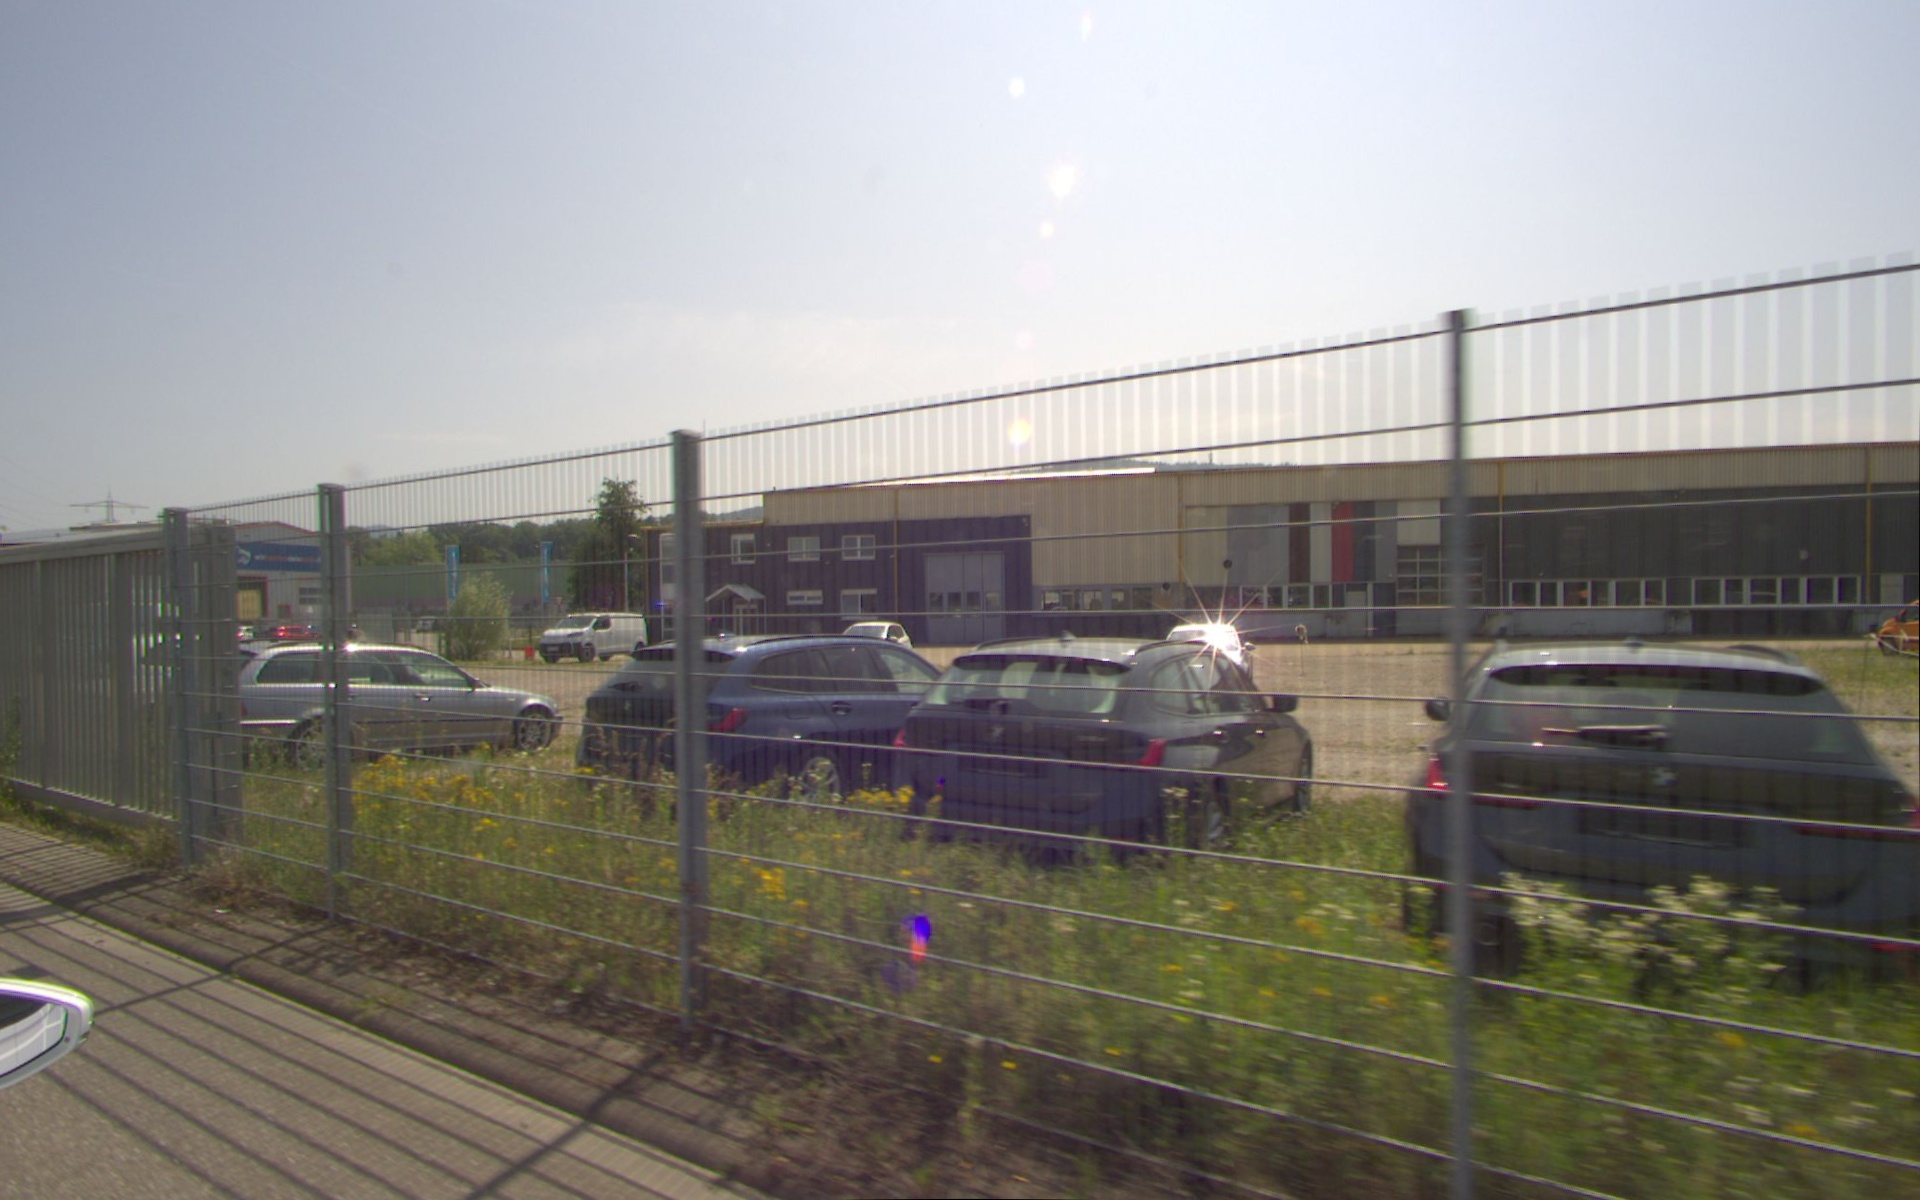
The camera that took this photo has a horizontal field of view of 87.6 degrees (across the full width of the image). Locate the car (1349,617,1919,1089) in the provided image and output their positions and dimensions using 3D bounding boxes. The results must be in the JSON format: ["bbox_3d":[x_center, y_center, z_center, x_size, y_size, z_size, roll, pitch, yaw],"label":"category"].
[{"bbox_3d":[3.379,0.866,5.359,1.811,1.423,4.506,-1,-3,29],"label":"car"}]

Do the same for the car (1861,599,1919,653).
[{"bbox_3d":[27.532,0.726,27.887,1.720,1.505,4.385,0,0,14],"label":"car"}]

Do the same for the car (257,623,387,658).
[{"bbox_3d":[-25.075,1.564,39.487,3.854,1.294,1.906,0,0,-9],"label":"car"}]

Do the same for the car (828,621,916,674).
[{"bbox_3d":[-2.567,1.374,29.878,1.507,1.454,3.664,-1,-1,14],"label":"car"}]

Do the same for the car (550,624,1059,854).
[{"bbox_3d":[-0.976,0.999,8.596,1.743,1.423,4.501,-1,-4,34],"label":"car"}]

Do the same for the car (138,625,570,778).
[{"bbox_3d":[-6.930,1.113,11.976,1.613,1.492,4.163,-1,-3,28],"label":"car"}]

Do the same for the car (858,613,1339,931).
[{"bbox_3d":[1.314,0.904,6.855,1.614,1.423,4.505,-1,-3,31],"label":"car"}]

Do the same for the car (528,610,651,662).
[{"bbox_3d":[-14.460,1.362,39.471,1.824,1.924,5.069,-1,-1,17],"label":"car"}]

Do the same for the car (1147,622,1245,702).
[{"bbox_3d":[4.873,1.167,20.253,1.597,1.368,4.517,-1,-1,17],"label":"car"}]
